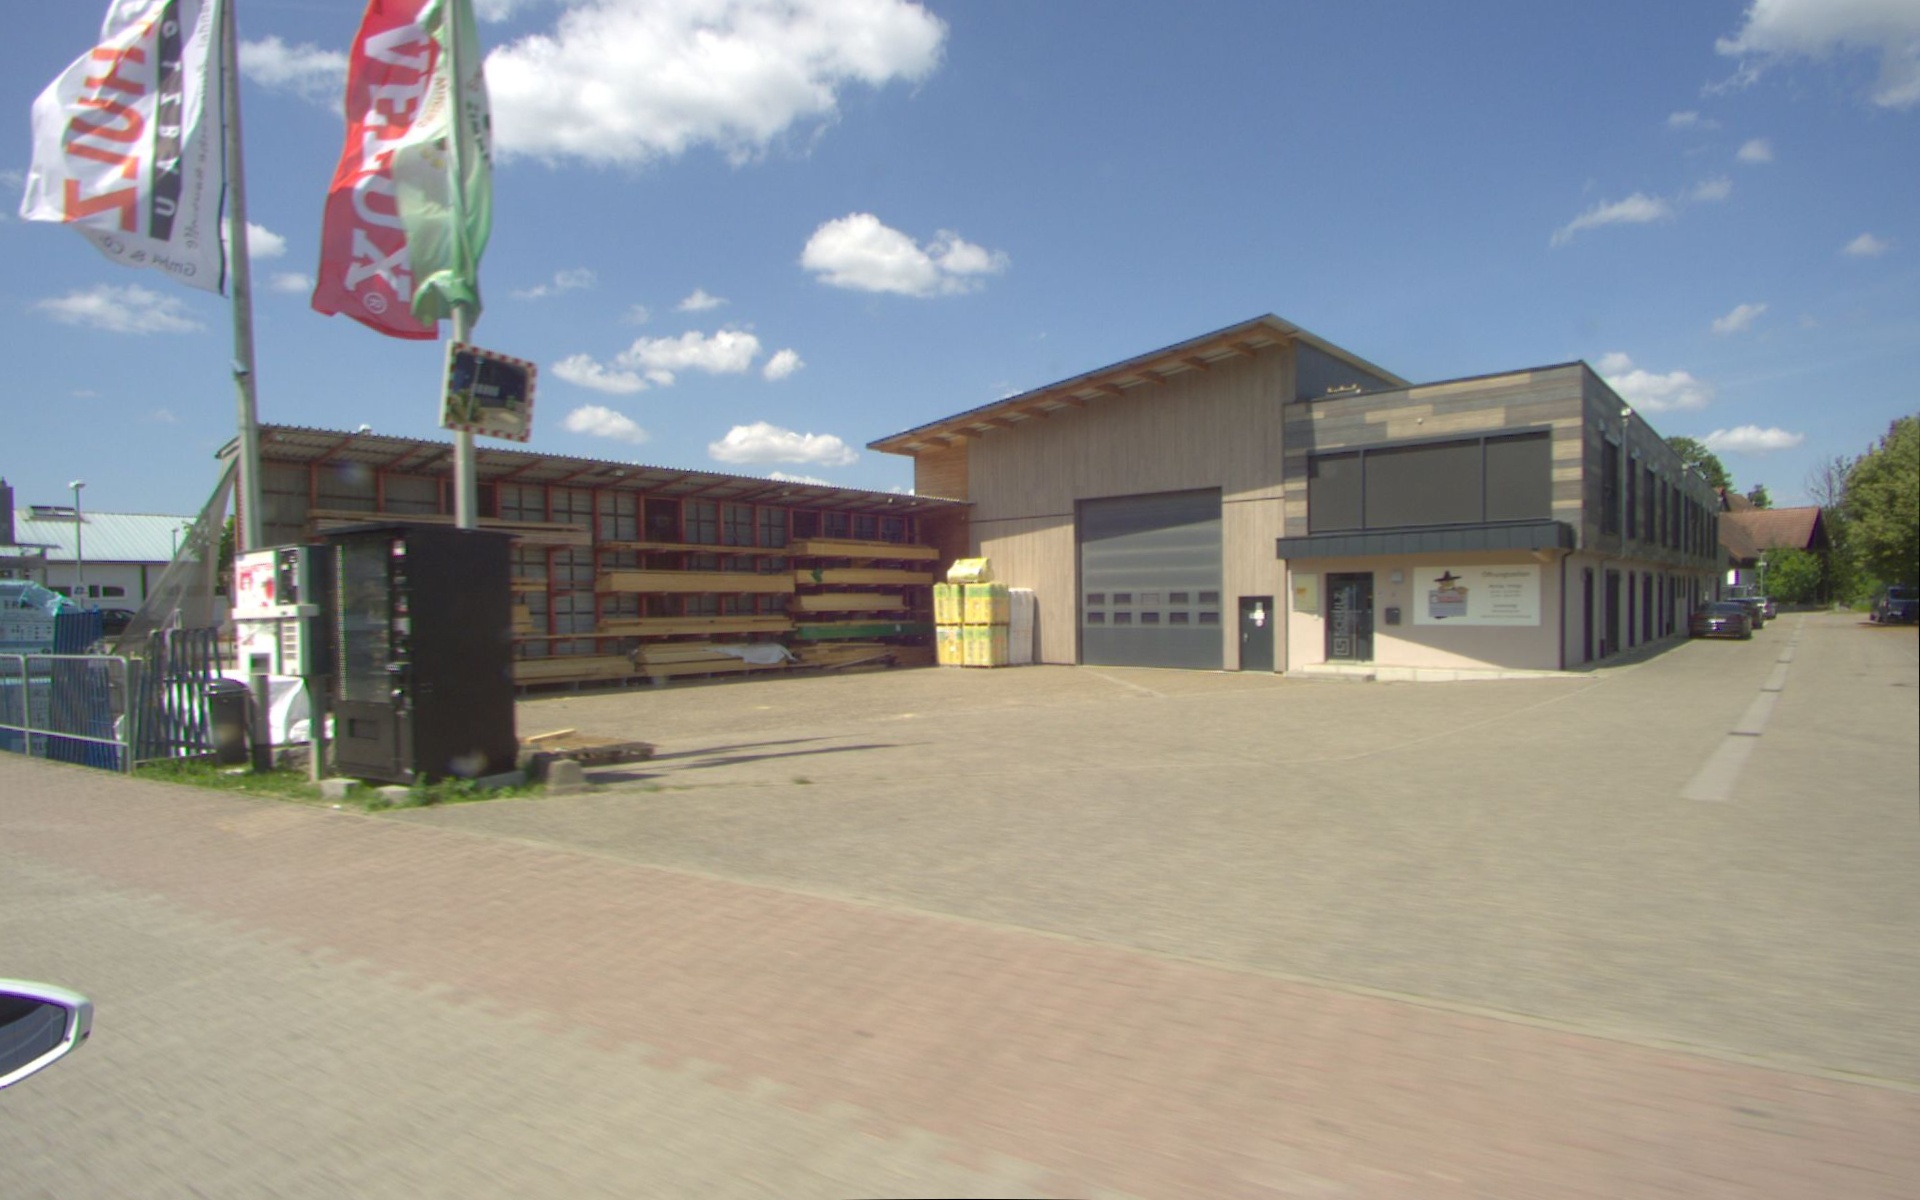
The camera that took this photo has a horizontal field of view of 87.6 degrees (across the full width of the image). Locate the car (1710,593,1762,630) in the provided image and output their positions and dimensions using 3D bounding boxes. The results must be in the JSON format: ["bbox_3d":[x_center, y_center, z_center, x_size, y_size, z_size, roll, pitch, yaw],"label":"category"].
[{"bbox_3d":[38.650,0.604,49.930,1.975,1.772,3.973,-1,-1,37],"label":"car"}]

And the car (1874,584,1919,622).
[{"bbox_3d":[53.165,0.204,56.365,1.973,2.040,3.977,-1,-1,34],"label":"car"}]

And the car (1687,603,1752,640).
[{"bbox_3d":[30.229,0.845,39.863,1.975,1.394,3.972,-1,-1,38],"label":"car"}]

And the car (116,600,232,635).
[{"bbox_3d":[-36.383,0.777,46.395,1.977,1.514,3.966,0,0,42],"label":"car"}]

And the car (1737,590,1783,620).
[{"bbox_3d":[50.782,0.343,63.644,1.973,1.862,3.976,-1,0,34],"label":"car"}]
